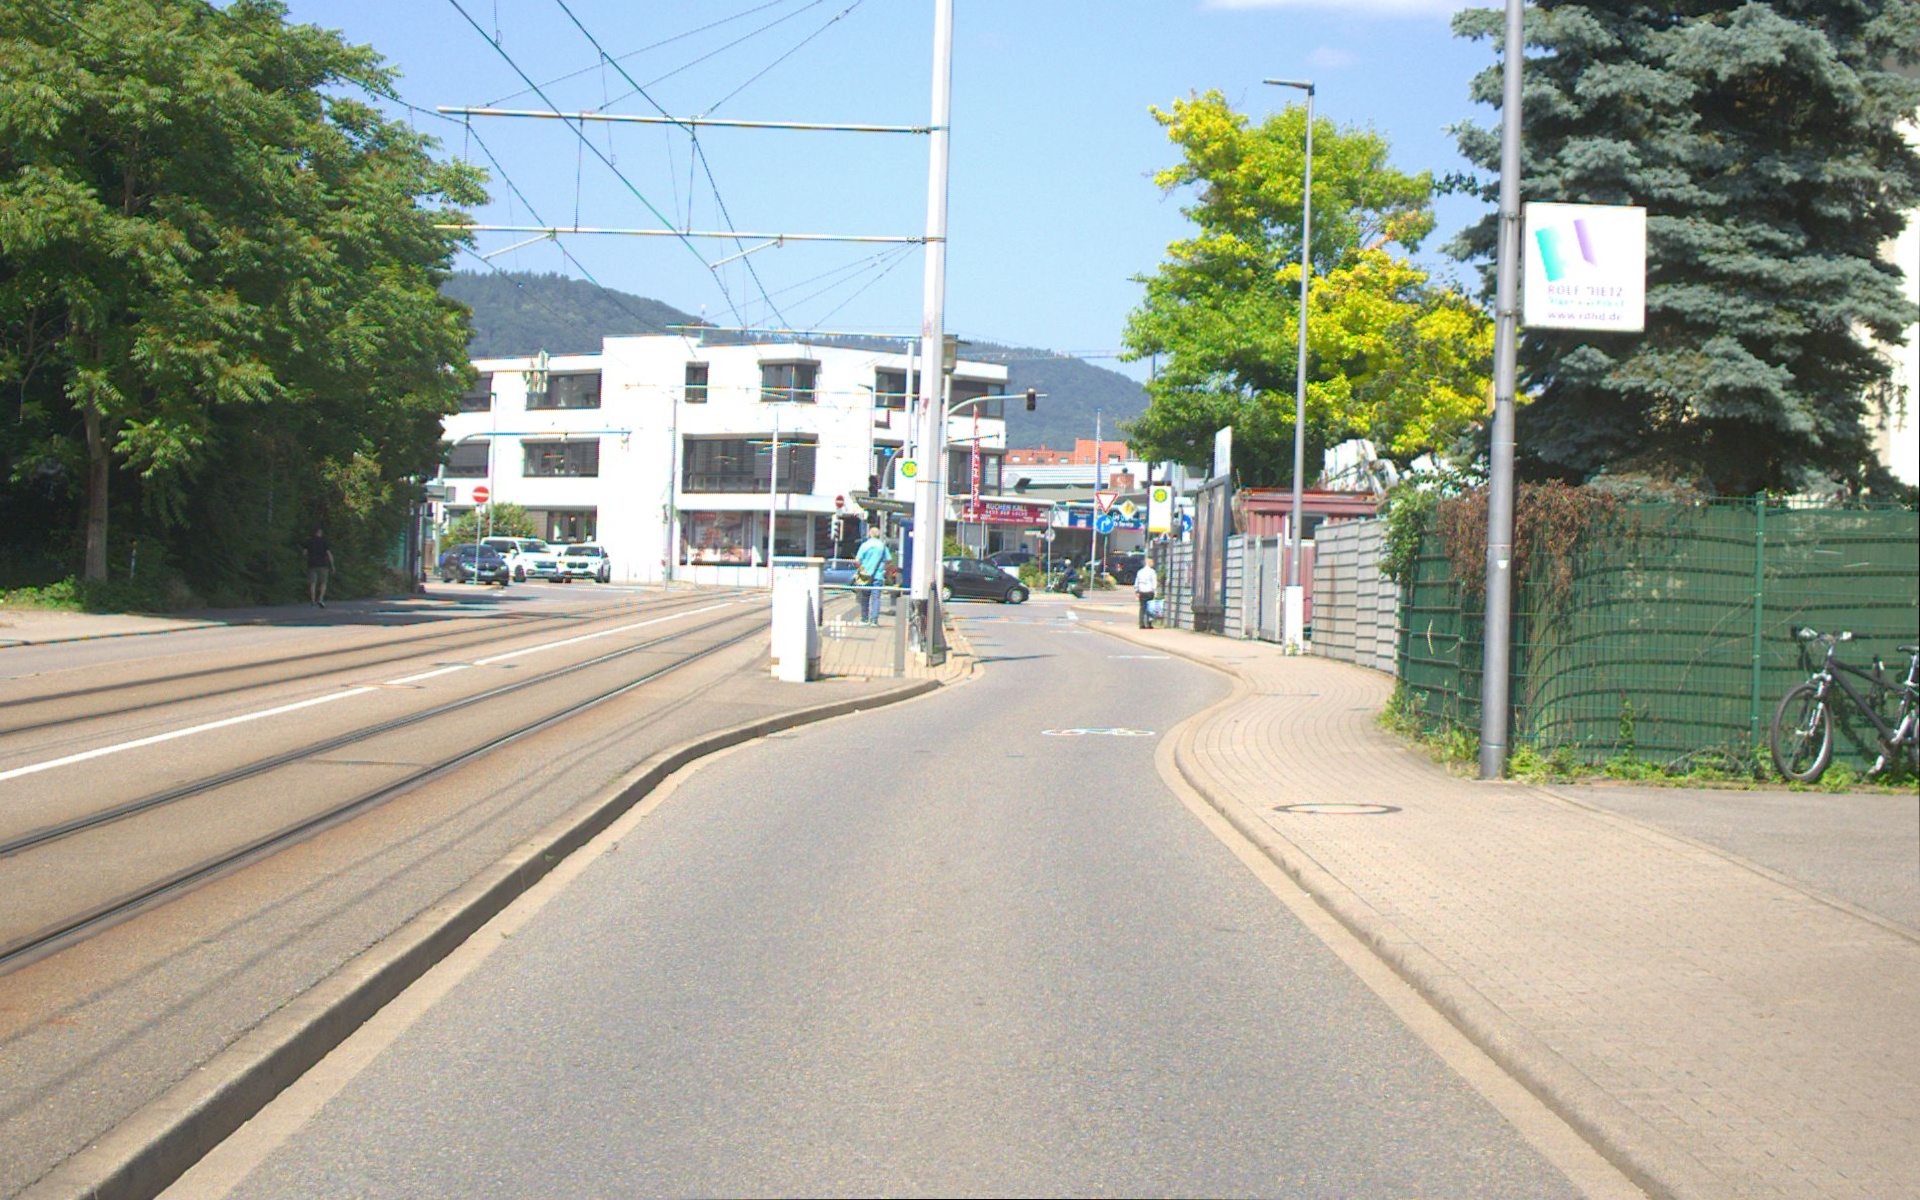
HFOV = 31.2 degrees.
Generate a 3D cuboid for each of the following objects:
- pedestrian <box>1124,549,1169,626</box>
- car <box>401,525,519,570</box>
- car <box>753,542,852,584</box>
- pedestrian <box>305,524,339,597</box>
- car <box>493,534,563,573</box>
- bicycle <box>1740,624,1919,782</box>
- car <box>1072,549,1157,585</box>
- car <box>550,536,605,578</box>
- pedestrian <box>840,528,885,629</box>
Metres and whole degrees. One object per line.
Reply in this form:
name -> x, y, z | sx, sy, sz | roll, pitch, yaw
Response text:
pedestrian -> 4.481, -0.300, 82.612 | 0.940, 1.781, 0.953 | 2, 2, -1
car -> -17.992, -1.878, 123.642 | 3.994, 1.546, 1.789 | 2, 1, 33
car -> -6.646, -1.557, 145.003 | 3.892, 1.674, 1.732 | 1, 1, -12
pedestrian -> -13.622, -0.843, 73.372 | 0.584, 1.532, 0.657 | 1, 1, -1
car -> -19.123, -2.062, 152.084 | 1.926, 1.642, 3.762 | 1, 1, -26
bicycle -> 5.815, 0.671, 22.174 | 1.471, 0.987, 0.388 | 1, -2, -1
car -> 7.510, -1.602, 166.960 | 3.989, 1.656, 1.864 | 1, 1, -45
car -> -15.515, -1.751, 139.262 | 1.755, 1.642, 3.763 | 1, 1, -13
pedestrian -> -1.704, -0.383, 60.069 | 0.743, 1.734, 0.727 | 1, 1, -1
